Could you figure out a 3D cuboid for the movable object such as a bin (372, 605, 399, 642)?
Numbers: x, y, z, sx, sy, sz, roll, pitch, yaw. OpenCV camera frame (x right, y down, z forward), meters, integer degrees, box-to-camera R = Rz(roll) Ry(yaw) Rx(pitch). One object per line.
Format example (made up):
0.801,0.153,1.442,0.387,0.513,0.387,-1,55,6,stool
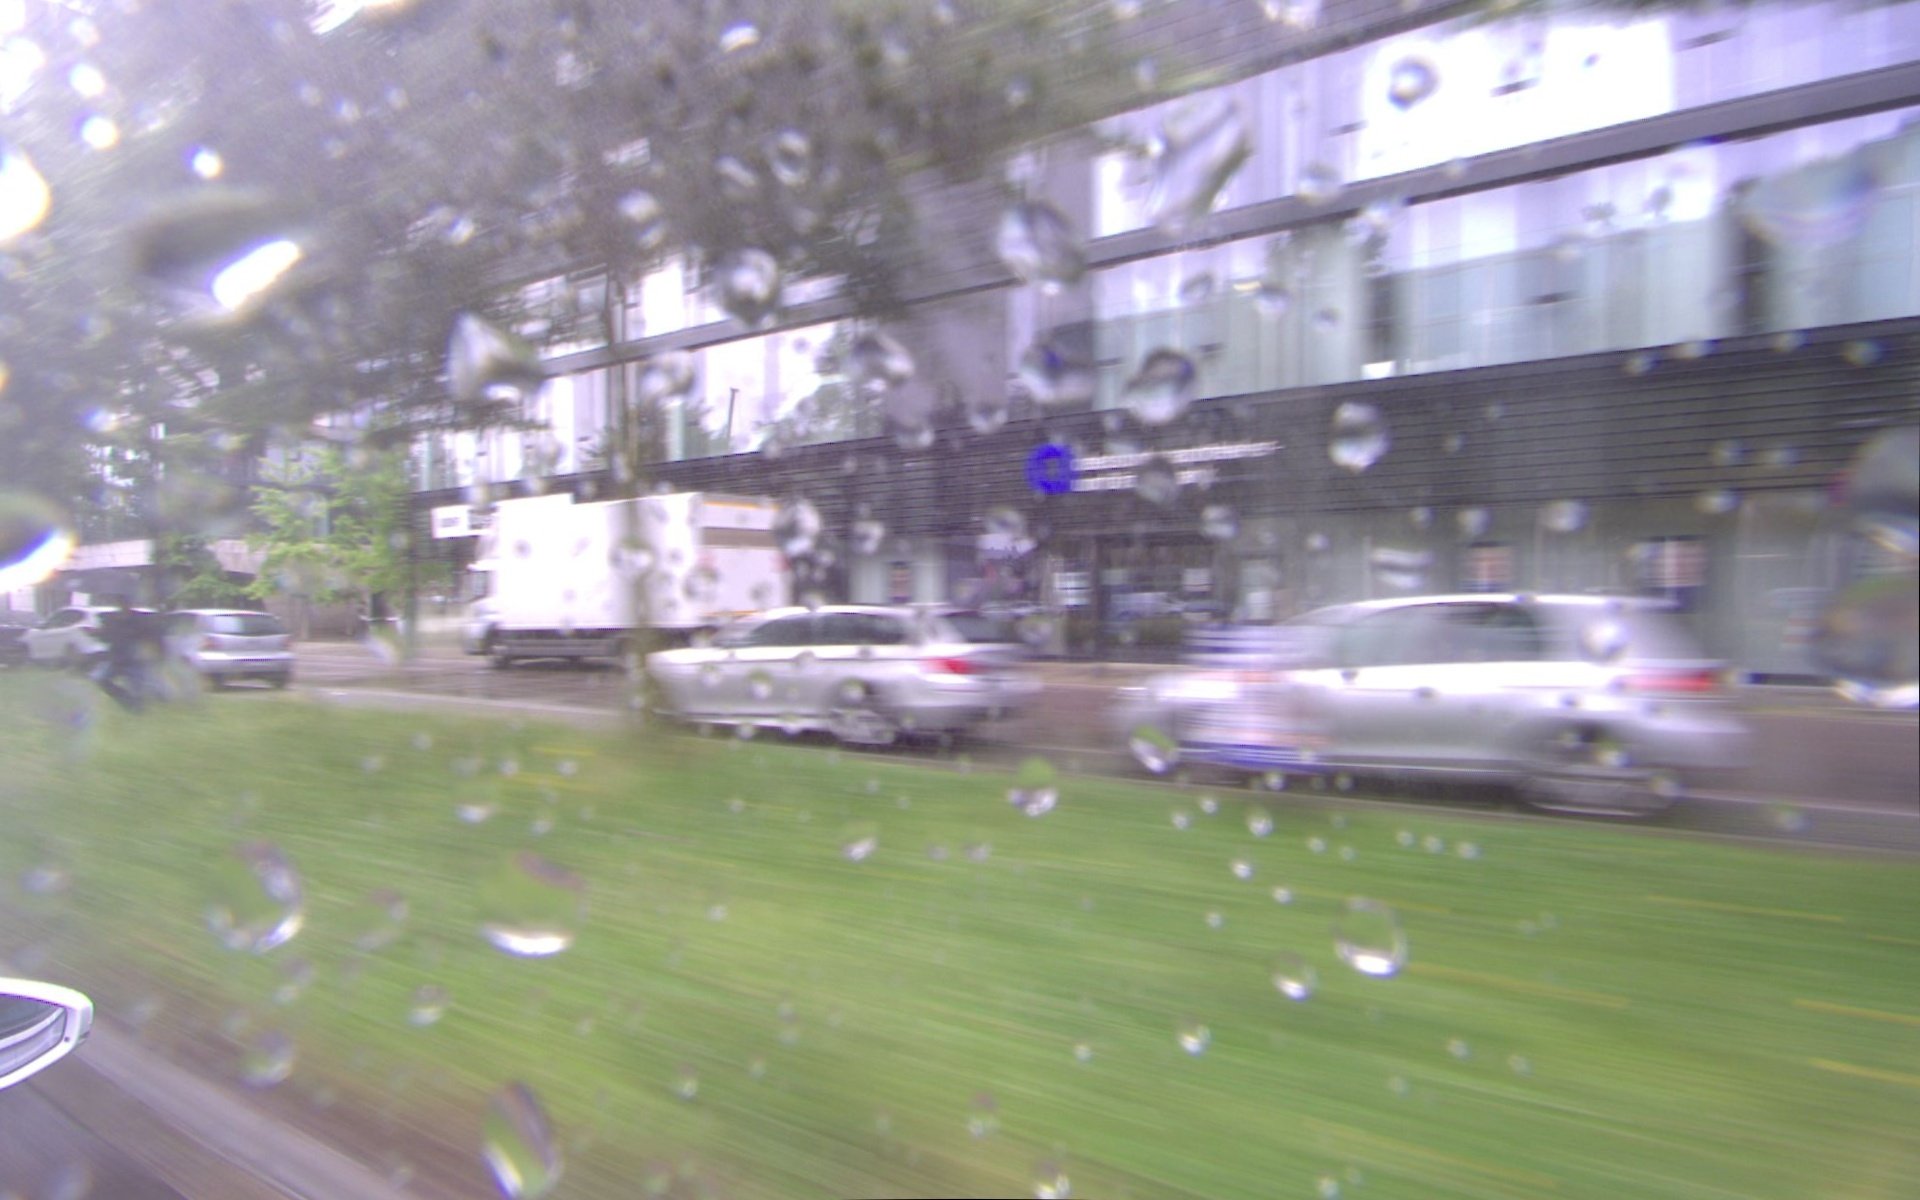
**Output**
-20.770,0.840,36.180,0.638,1.294,0.607,3,2,28,movable object such as a bin

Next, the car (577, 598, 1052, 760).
-1.728,0.733,11.223,5.158,1.463,1.991,0,0,30,car

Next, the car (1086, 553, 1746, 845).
3.171,0.513,7.499,4.041,1.618,1.757,2,2,33,car

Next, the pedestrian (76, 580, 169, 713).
-9.918,0.537,11.861,0.689,1.513,0.641,0,1,30,pedestrian

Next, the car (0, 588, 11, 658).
-30.057,0.586,29.481,4.956,1.979,1.989,2,2,33,car

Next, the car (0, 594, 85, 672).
-24.443,0.770,25.496,4.886,1.692,1.989,2,2,33,car

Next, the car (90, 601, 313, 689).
-14.579,0.794,19.182,4.652,1.471,1.767,0,0,30,car

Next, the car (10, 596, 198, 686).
-19.286,0.835,22.525,4.655,1.692,1.989,2,2,33,car

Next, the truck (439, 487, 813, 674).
-7.502,-0.343,22.088,8.419,3.486,3.020,0,0,30,truck
